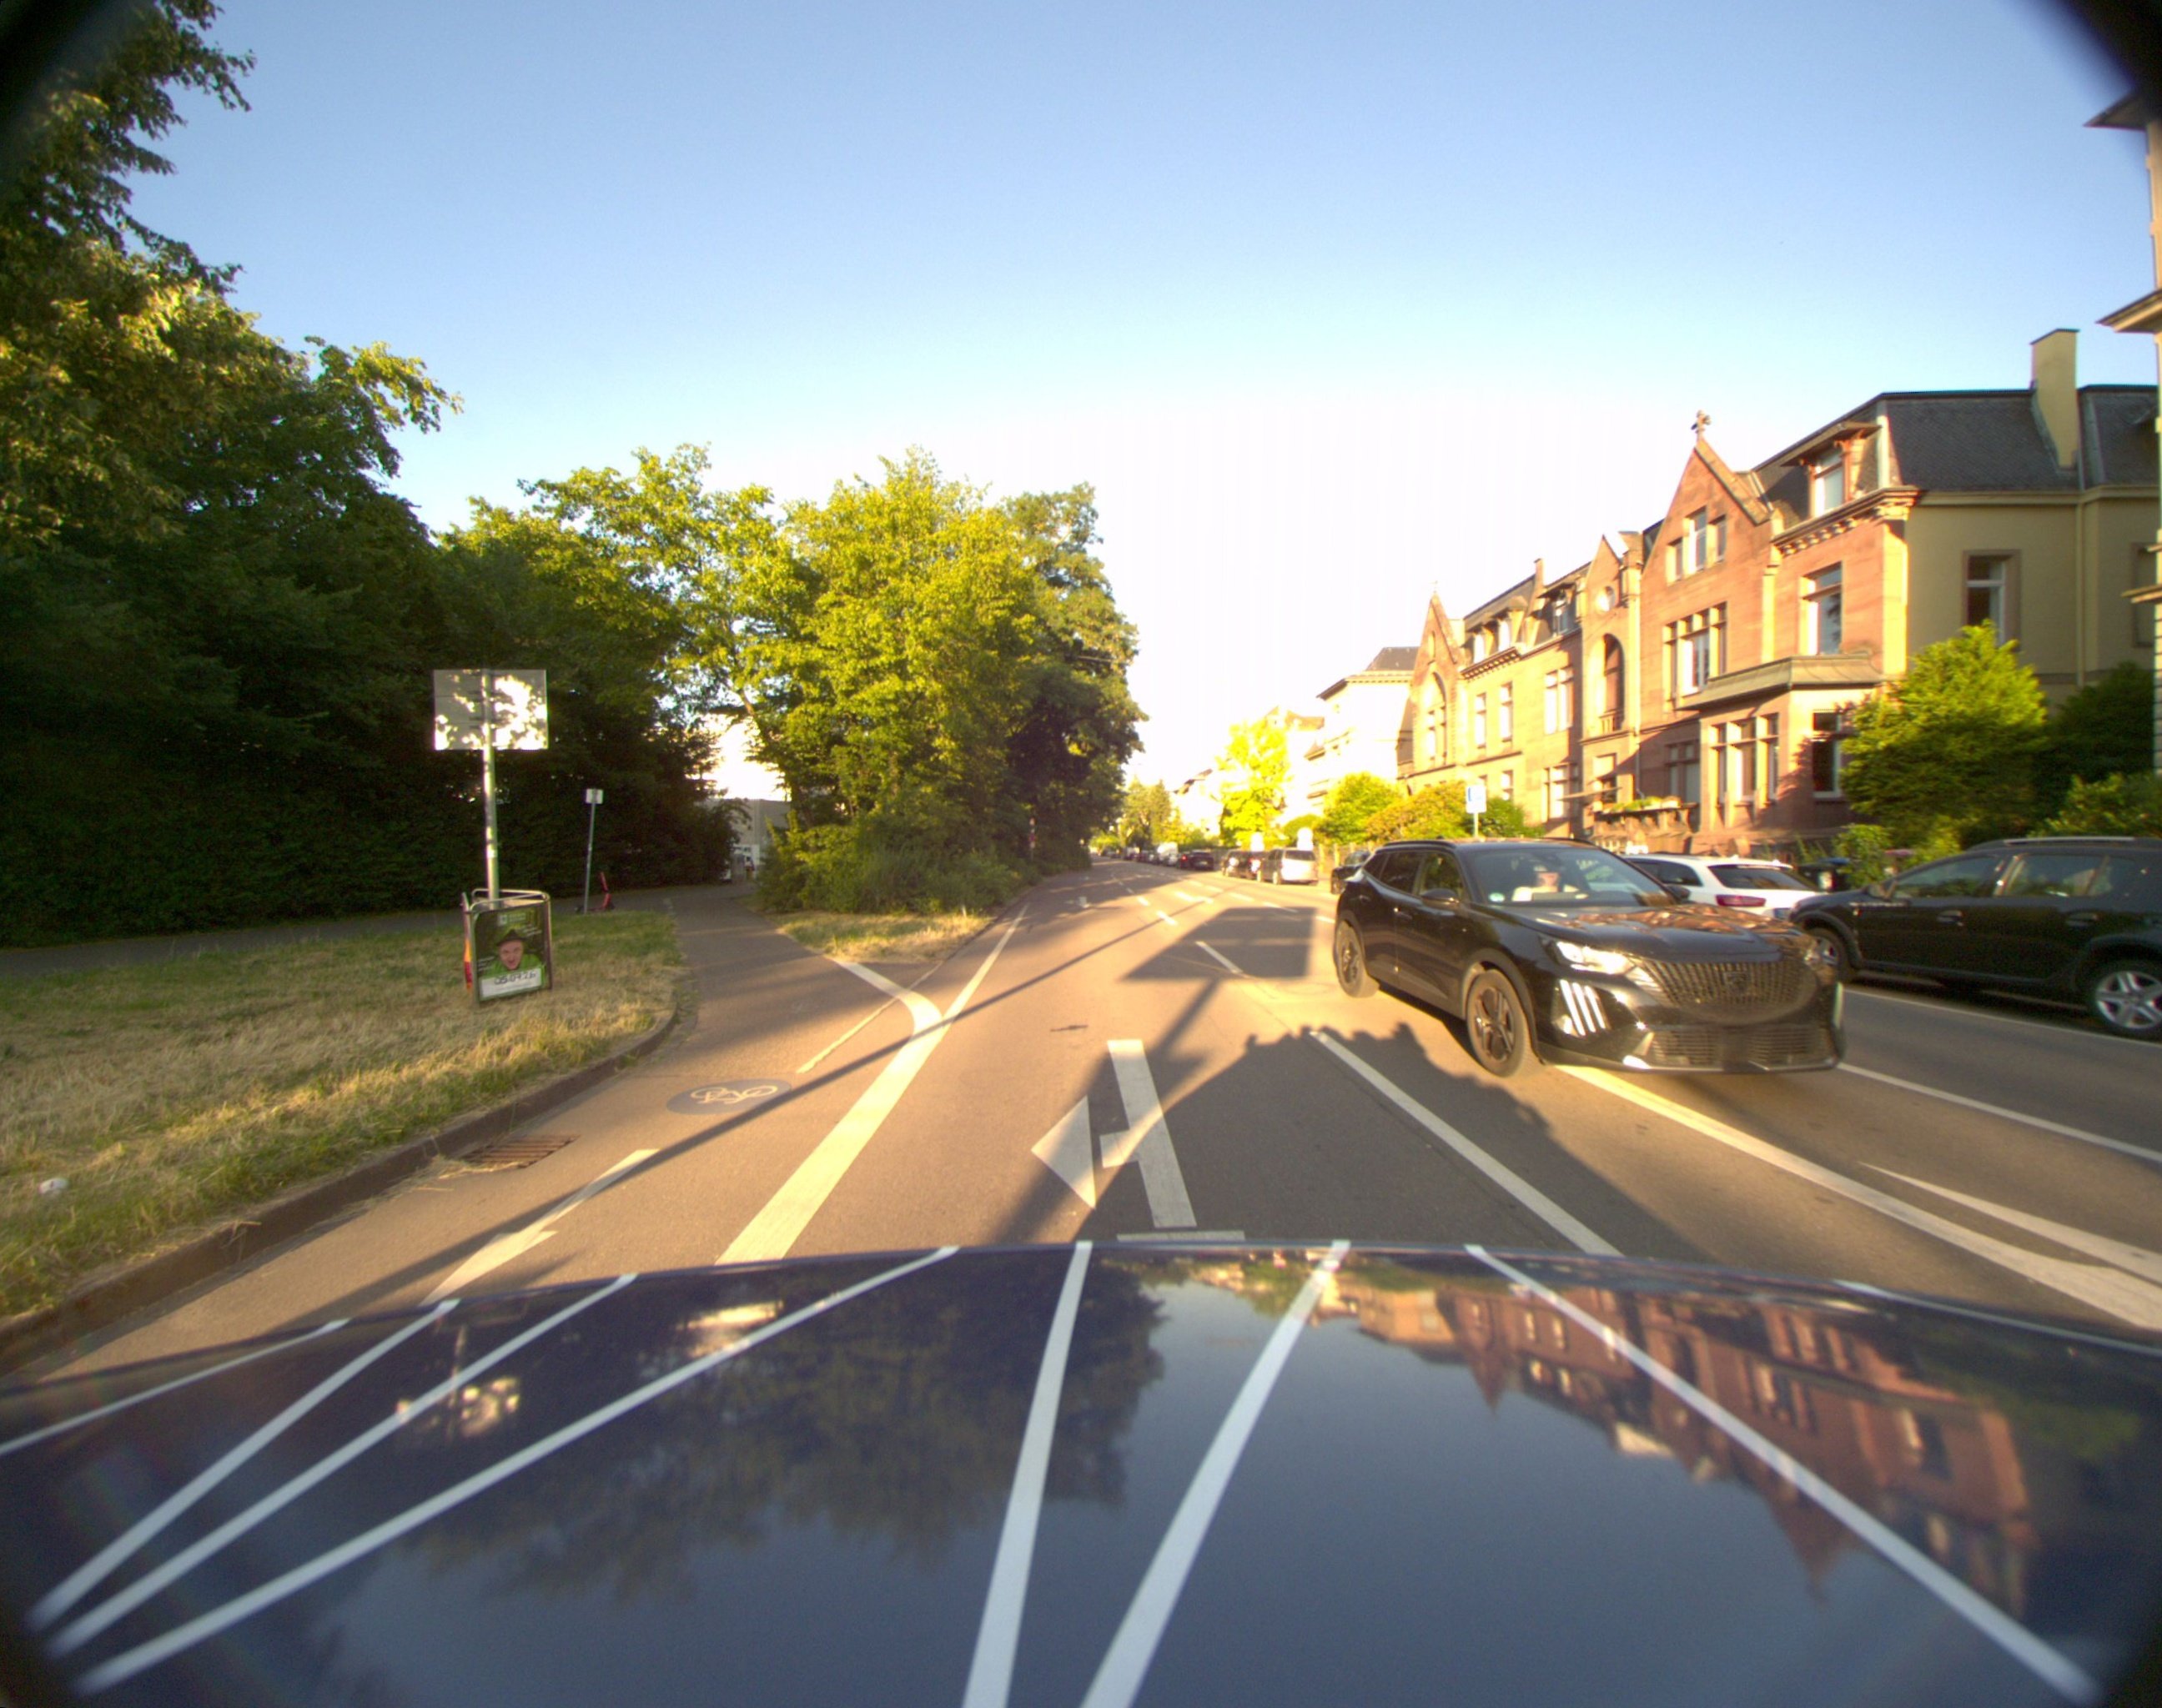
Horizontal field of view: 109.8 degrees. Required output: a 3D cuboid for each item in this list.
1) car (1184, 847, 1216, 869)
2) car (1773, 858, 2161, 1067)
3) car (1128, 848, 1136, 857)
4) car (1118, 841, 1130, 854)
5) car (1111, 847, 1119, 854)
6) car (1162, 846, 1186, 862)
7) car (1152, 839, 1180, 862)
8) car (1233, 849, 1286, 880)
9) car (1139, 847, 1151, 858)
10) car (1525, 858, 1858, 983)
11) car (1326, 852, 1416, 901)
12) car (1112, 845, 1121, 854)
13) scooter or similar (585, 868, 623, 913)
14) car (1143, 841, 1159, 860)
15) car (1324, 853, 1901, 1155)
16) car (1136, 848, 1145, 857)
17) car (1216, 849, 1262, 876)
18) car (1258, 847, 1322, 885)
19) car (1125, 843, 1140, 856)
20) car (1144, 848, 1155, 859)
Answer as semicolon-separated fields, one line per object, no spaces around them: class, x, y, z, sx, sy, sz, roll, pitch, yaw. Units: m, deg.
car;8.941;0.254;57.386;1.880;1.596;3.722;0;1;1
car;8.978;0.849;7.103;1.631;1.526;3.723;2;1;2
car;8.559;-0.237;126.862;1.220;1.430;2.515;0;1;1
car;8.866;-1.347;157.074;1.999;2.442;5.579;-1;0;-1
car;9.260;-0.935;205.022;1.998;2.002;4.000;-1;1;1
car;9.129;-0.024;74.659;1.716;1.596;3.852;0;0;-3
car;9.051;-0.383;81.685;2.231;2.355;5.878;0;0;-1
car;8.951;0.495;38.450;1.716;1.442;3.722;0;0;-1
car;8.742;-0.221;103.958;1.327;1.430;2.697;0;1;1
car;8.887;0.840;11.675;1.608;1.435;4.433;2;1;2
car;9.192;0.649;24.355;1.631;1.437;3.566;0;0;2
car;8.124;-0.982;174.146;1.998;2.002;4.000;-2;1;2
scooter or similar;-11.802;0.900;18.821;0.194;1.079;0.837;-2;0;15
car;8.650;-0.416;94.195;1.571;2.253;3.800;0;1;1
car;3.393;0.778;5.932;1.682;1.527;3.999;-1;0;0
car;9.116;-0.268;116.478;1.220;1.430;2.515;0;1;1
car;8.922;0.435;43.163;1.716;1.442;3.722;0;0;-1
car;9.121;0.475;33.439;1.716;1.579;3.752;0;0;-1
car;8.938;-0.726;131.984;2.203;2.201;4.527;0;1;1
car;8.905;-0.099;98.924;1.292;1.430;2.883;0;1;1
